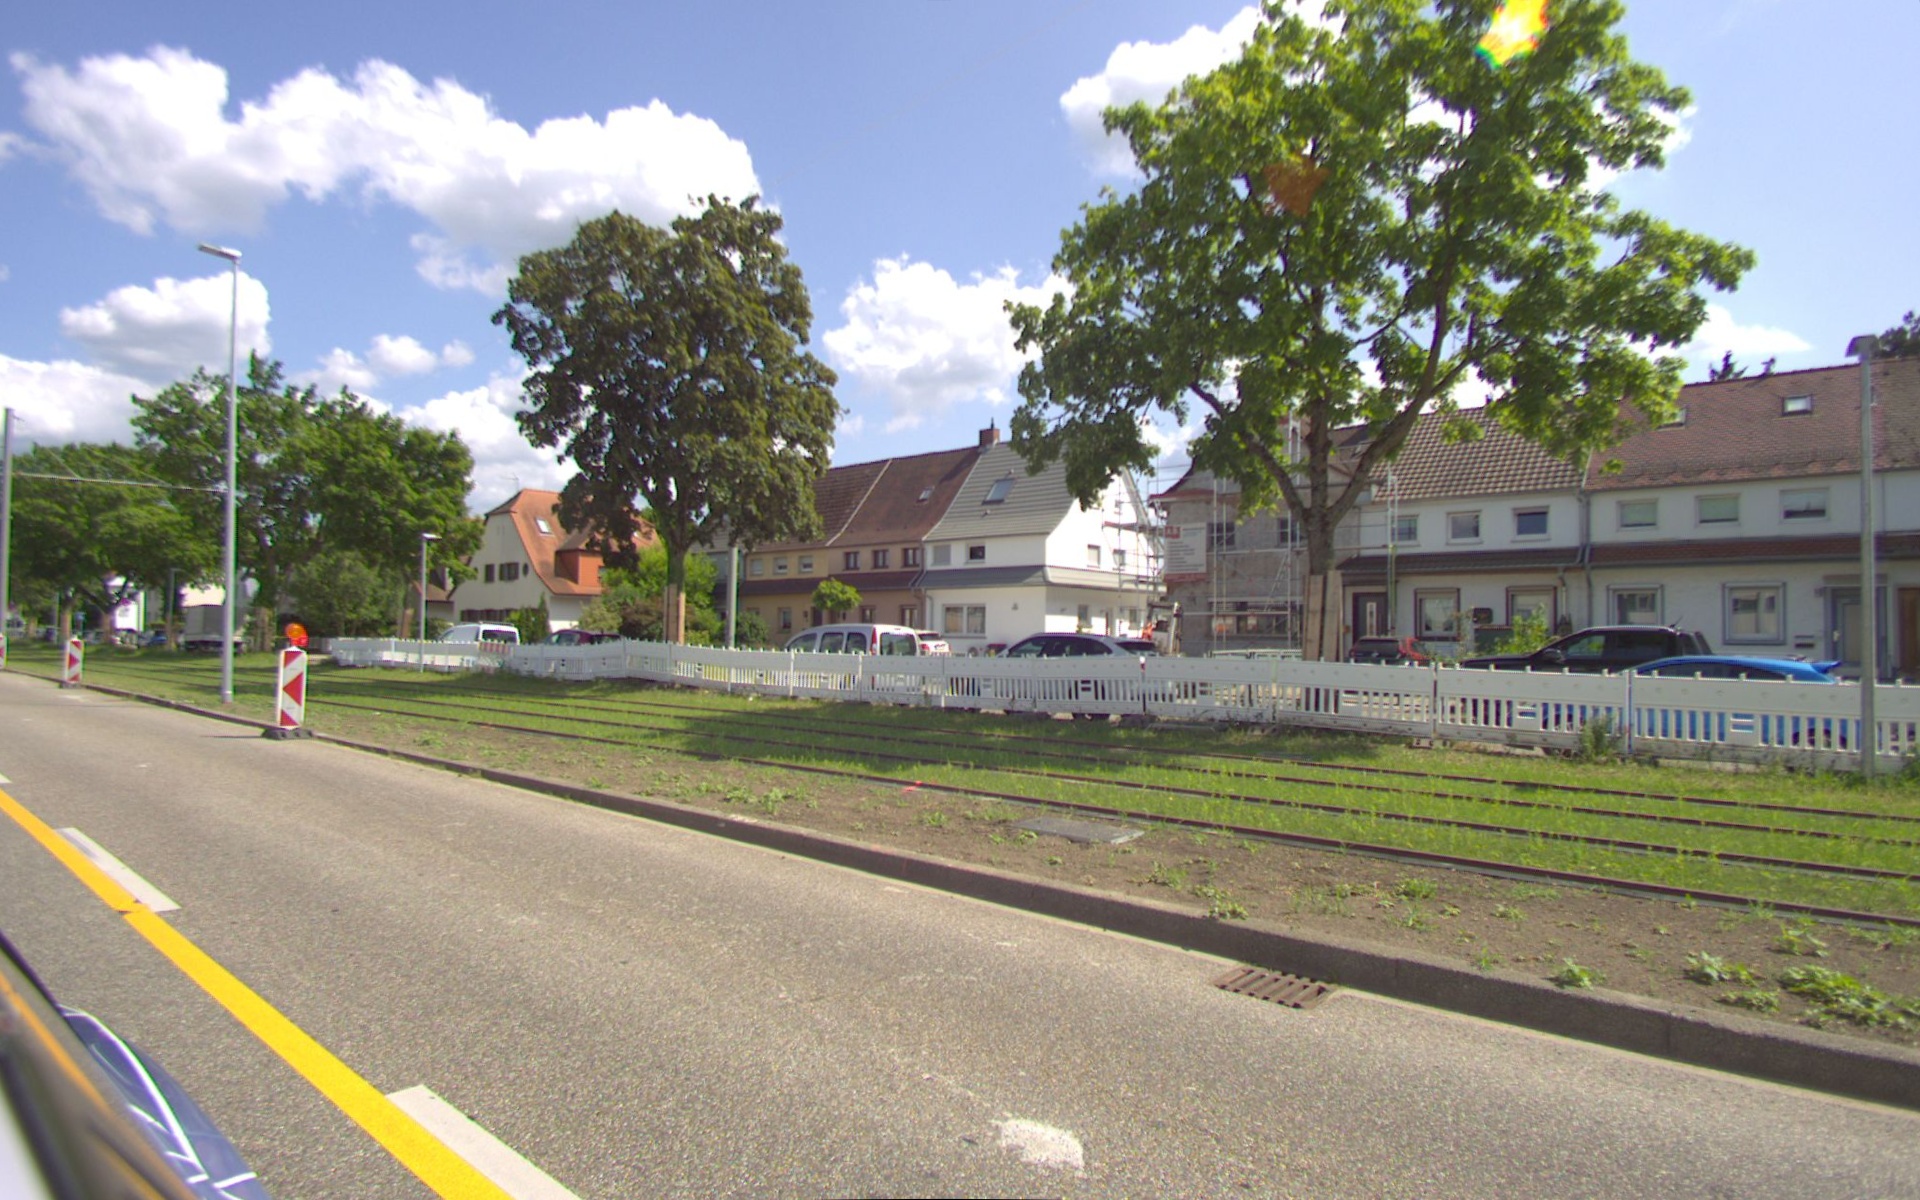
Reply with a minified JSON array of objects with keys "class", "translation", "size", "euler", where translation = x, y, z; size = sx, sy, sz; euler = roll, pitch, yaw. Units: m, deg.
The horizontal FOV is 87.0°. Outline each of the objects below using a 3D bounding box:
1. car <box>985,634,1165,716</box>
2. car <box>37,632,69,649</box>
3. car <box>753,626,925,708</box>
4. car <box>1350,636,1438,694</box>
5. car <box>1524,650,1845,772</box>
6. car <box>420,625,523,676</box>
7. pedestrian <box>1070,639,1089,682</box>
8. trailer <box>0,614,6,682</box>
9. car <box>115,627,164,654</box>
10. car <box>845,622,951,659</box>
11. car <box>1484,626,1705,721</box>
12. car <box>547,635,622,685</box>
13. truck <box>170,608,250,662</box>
[{"class":"car","translation":[2.090,1.356,18.756],"size":[3.112,1.388,1.336],"euler":[-2,-5,40]},{"class":"car","translation":[-79.389,3.523,88.585],"size":[3.998,1.311,1.616],"euler":[-1,-1,41]},{"class":"car","translation":[-2.776,1.465,22.847],"size":[3.896,1.664,1.606],"euler":[-1,-4,41]},{"class":"car","translation":[11.505,1.678,26.769],"size":[1.286,1.390,2.776],"euler":[-1,-1,43]},{"class":"car","translation":[9.099,1.321,12.898],"size":[3.166,1.335,1.327],"euler":[-1,-3,38]},{"class":"car","translation":[-16.756,1.712,34.643],"size":[3.998,1.638,1.636],"euler":[-1,-4,41]},{"class":"pedestrian","translation":[3.996,2.013,33.759],"size":[0.471,1.386,0.418],"euler":[-1,-1,40]},{"class":"trailer","translation":[-26.635,1.232,26.271],"size":[5.481,1.849,2.041],"euler":[-1,-5,40]},{"class":"car","translation":[-50.270,2.451,61.992],"size":[3.928,1.524,1.651],"euler":[-1,-1,40]},{"class":"car","translation":[-2.395,1.529,38.346],"size":[4.118,1.285,1.518],"euler":[-1,-3,41]},{"class":"car","translation":[10.993,1.228,17.619],"size":[3.091,1.507,1.342],"euler":[-2,-3,40]},{"class":"car","translation":[-10.907,1.732,29.334],"size":[2.449,1.358,1.060],"euler":[-1,-4,44]},{"class":"truck","translation":[-41.459,1.874,55.891],"size":[5.947,2.826,2.340],"euler":[-1,-1,41]}]
